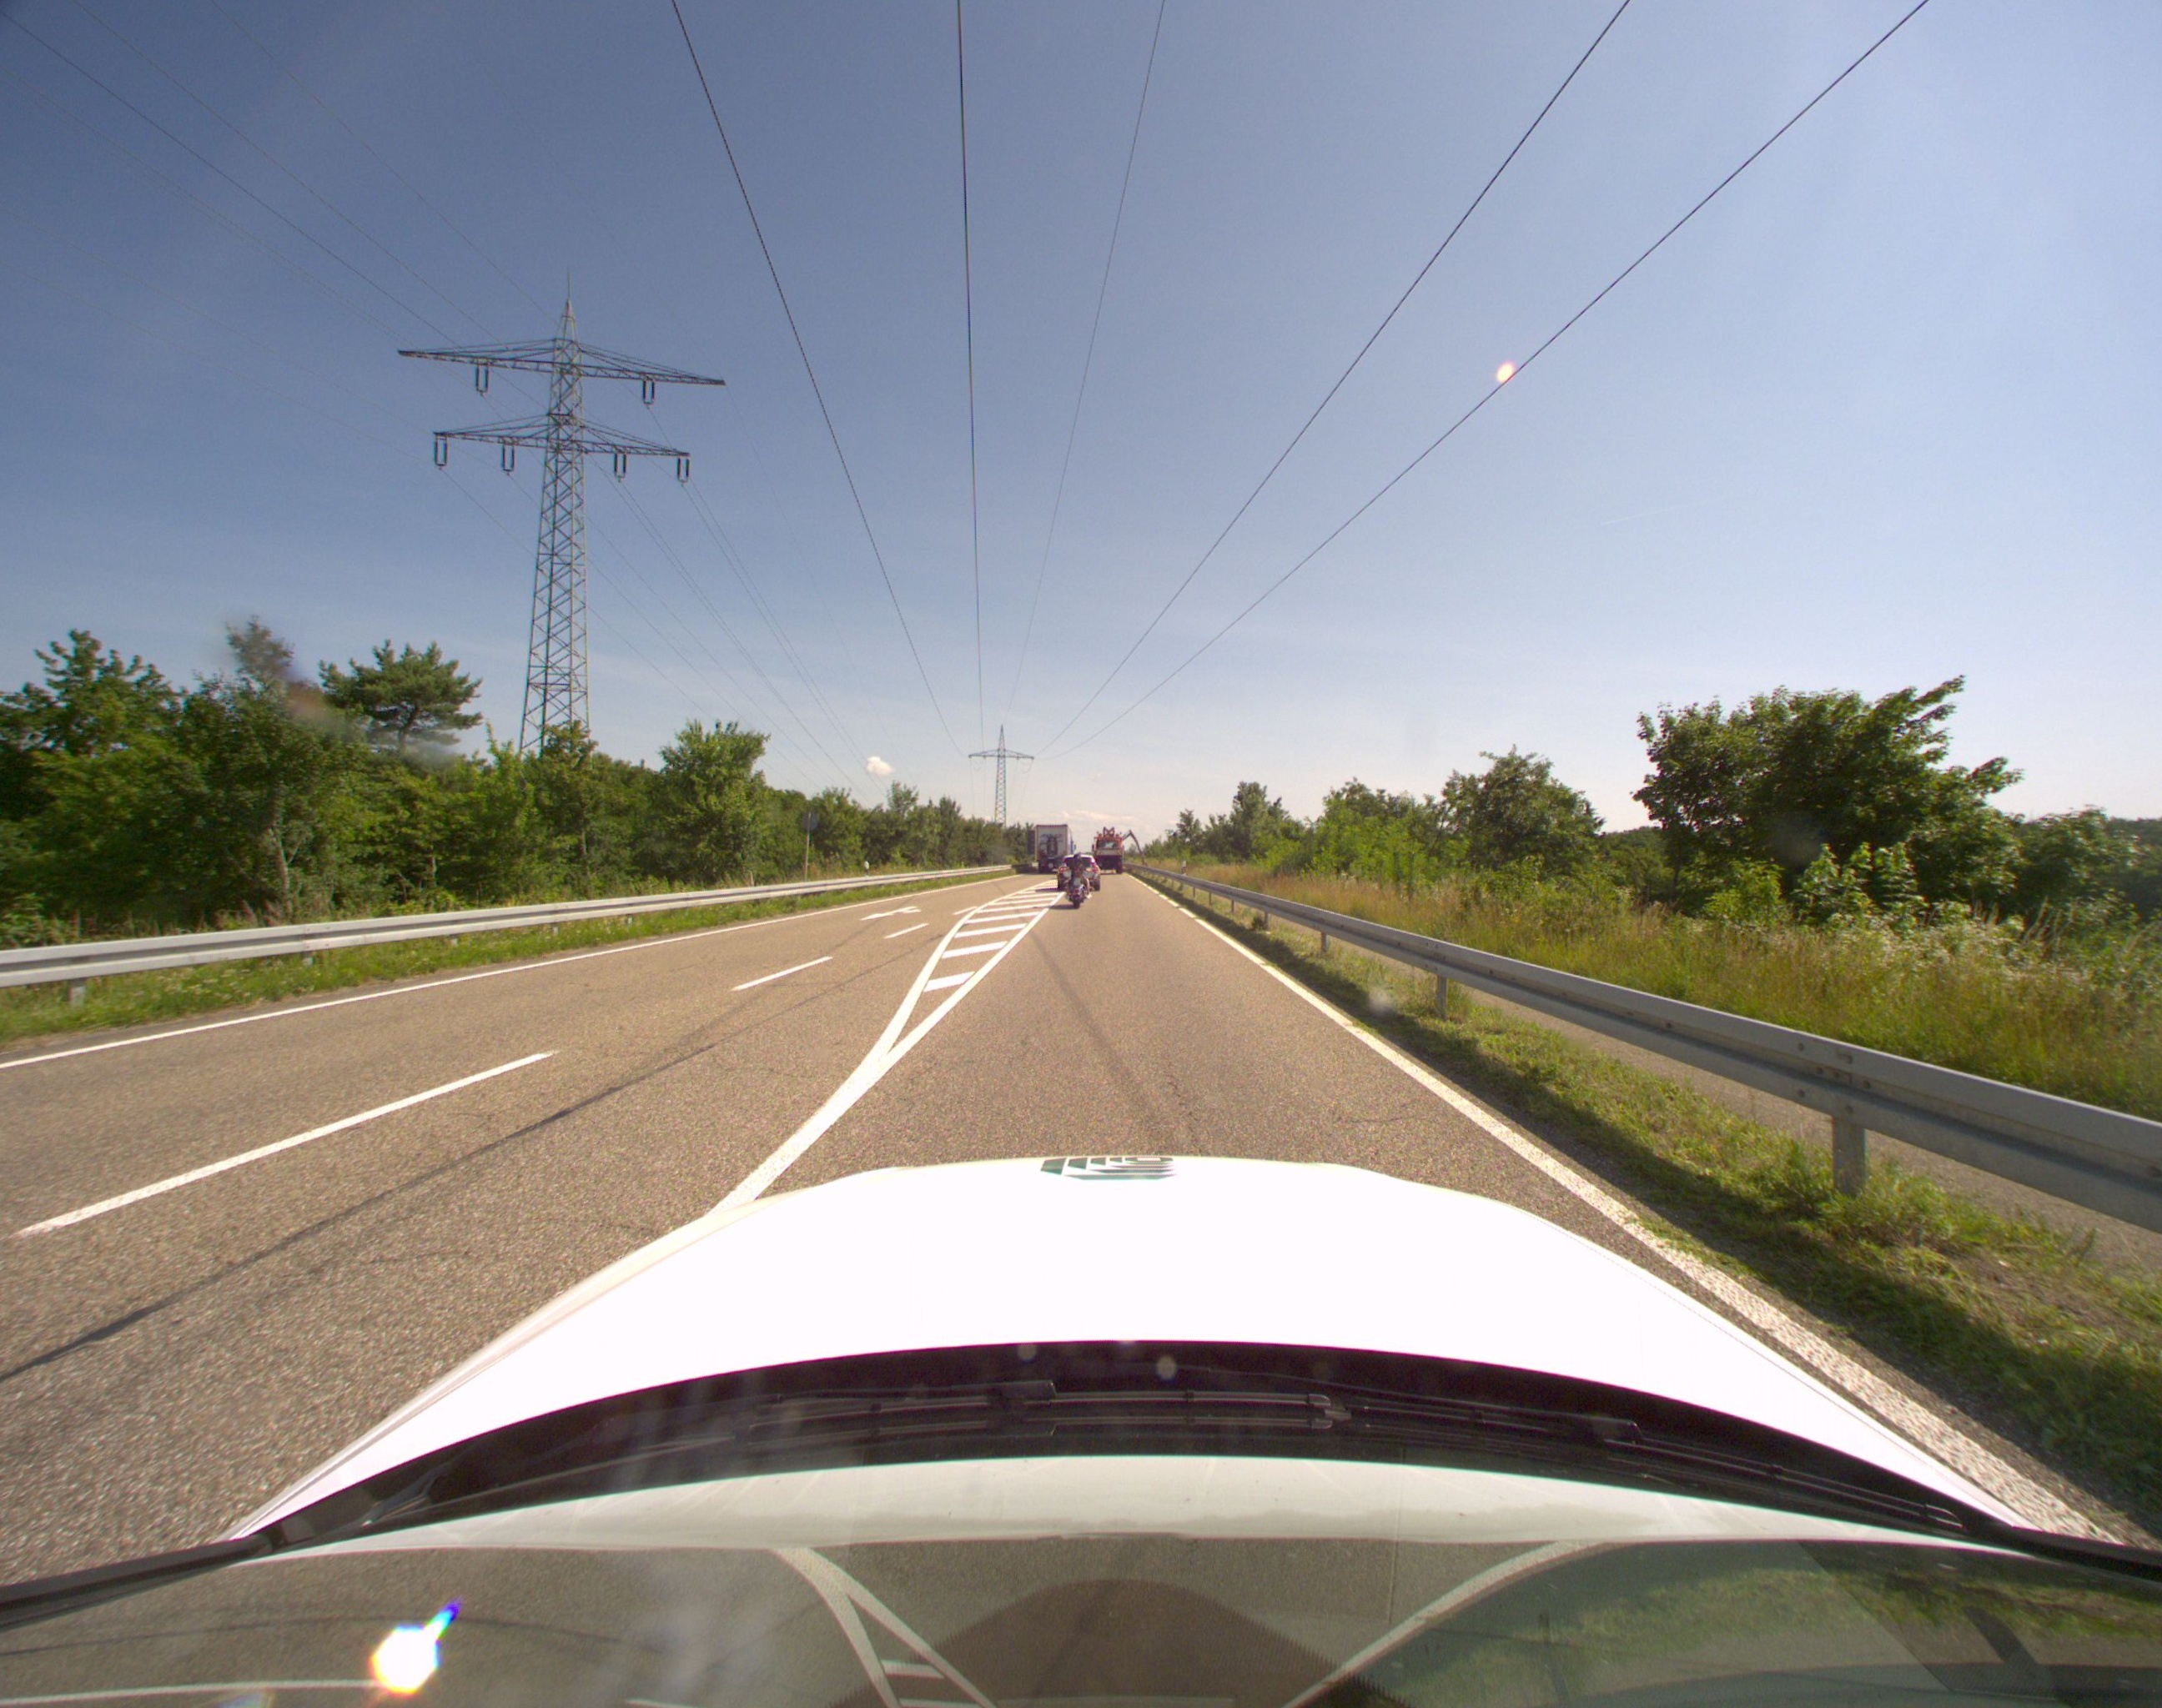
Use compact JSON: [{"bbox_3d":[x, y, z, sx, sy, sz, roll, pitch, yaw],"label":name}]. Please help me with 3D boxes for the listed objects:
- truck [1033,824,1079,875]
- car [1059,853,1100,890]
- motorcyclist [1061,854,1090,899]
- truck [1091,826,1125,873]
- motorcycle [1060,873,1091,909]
[{"bbox_3d":[-2.068,-0.350,73.639,2.956,4.187,14.832,0,0,3],"label":"truck"},{"bbox_3d":[-0.109,0.712,35.512,1.697,1.536,3.496,0,0,-2],"label":"car"},{"bbox_3d":[-0.161,0.653,23.878,0.834,1.280,0.919,0,0,-1],"label":"motorcyclist"},{"bbox_3d":[2.224,-0.341,66.982,2.604,3.711,6.780,0,0,2],"label":"truck"},{"bbox_3d":[-0.155,1.056,23.709,0.856,0.915,2.227,-1,0,0],"label":"motorcycle"}]
